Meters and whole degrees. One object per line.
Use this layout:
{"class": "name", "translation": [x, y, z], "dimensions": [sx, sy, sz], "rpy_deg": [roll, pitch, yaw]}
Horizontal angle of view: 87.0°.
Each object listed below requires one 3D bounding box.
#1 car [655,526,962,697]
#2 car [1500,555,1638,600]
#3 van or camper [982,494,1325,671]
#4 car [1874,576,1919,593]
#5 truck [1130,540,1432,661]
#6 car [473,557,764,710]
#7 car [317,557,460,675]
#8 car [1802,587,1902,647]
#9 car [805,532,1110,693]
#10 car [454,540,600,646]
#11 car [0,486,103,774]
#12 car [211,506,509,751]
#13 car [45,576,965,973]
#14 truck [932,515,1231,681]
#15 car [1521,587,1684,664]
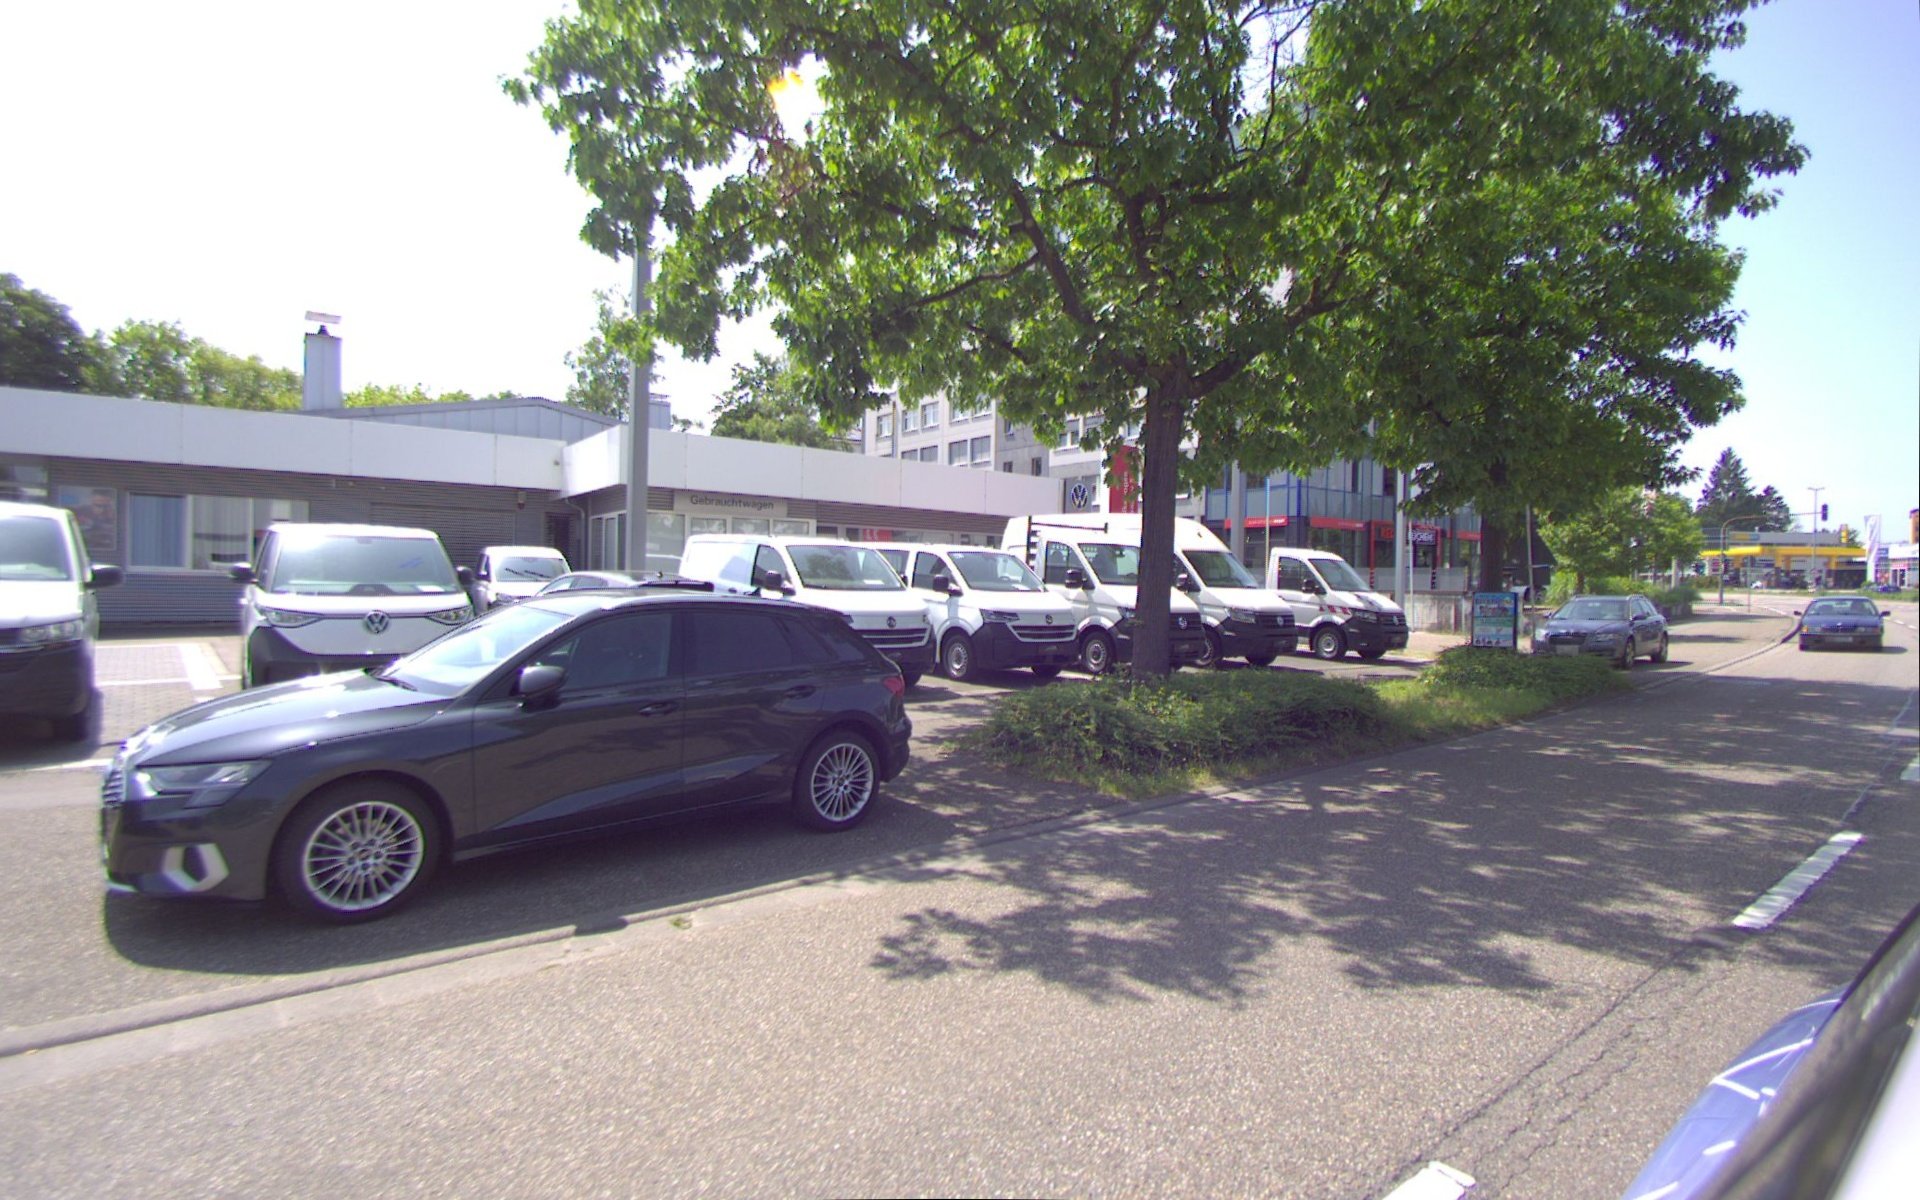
{"class": "car", "translation": [-2.349, 0.029, 14.428], "dimensions": [2.103, 1.995, 4.925], "rpy_deg": [0, 2, -39]}
{"class": "car", "translation": [25.412, -0.928, 42.442], "dimensions": [4.690, 1.735, 1.983], "rpy_deg": [-1, 1, 25]}
{"class": "van or camper", "translation": [3.540, -0.389, 20.176], "dimensions": [2.235, 2.934, 6.811], "rpy_deg": [0, 1, -40]}
{"class": "car", "translation": [82.638, -1.369, 89.326], "dimensions": [1.853, 1.382, 4.303], "rpy_deg": [3, 3, 29]}
{"class": "truck", "translation": [7.024, -0.095, 22.970], "dimensions": [2.325, 2.365, 6.262], "rpy_deg": [1, 2, -38]}
{"class": "car", "translation": [-4.498, 0.309, 13.021], "dimensions": [4.026, 1.489, 1.884], "rpy_deg": [6, 3, 44]}
{"class": "car", "translation": [-11.350, 0.182, 19.942], "dimensions": [2.039, 1.895, 4.527], "rpy_deg": [-1, 5, -35]}
{"class": "car", "translation": [23.067, 0.384, 26.118], "dimensions": [3.935, 1.390, 1.694], "rpy_deg": [-2, 1, -45]}
{"class": "car", "translation": [-0.217, 0.106, 16.014], "dimensions": [2.121, 2.140, 4.957], "rpy_deg": [0, 1, -41]}
{"class": "car", "translation": [-9.275, -0.258, 21.468], "dimensions": [2.059, 1.895, 4.528], "rpy_deg": [-1, 4, -34]}
{"class": "car", "translation": [-9.034, 0.092, 9.084], "dimensions": [2.004, 2.122, 5.076], "rpy_deg": [0, 3, -40]}
{"class": "car", "translation": [-6.584, 0.060, 10.848], "dimensions": [2.158, 2.037, 4.523], "rpy_deg": [-1, 5, -39]}
{"class": "car", "translation": [-2.200, 0.622, 5.781], "dimensions": [4.358, 1.453, 1.686], "rpy_deg": [0, 2, -38]}
{"class": "truck", "translation": [1.912, -0.142, 17.763], "dimensions": [2.073, 2.466, 5.262], "rpy_deg": [0, 2, -38]}
{"class": "car", "translation": [13.522, 0.476, 21.210], "dimensions": [4.246, 1.424, 1.800], "rpy_deg": [-1, 0, -42]}
